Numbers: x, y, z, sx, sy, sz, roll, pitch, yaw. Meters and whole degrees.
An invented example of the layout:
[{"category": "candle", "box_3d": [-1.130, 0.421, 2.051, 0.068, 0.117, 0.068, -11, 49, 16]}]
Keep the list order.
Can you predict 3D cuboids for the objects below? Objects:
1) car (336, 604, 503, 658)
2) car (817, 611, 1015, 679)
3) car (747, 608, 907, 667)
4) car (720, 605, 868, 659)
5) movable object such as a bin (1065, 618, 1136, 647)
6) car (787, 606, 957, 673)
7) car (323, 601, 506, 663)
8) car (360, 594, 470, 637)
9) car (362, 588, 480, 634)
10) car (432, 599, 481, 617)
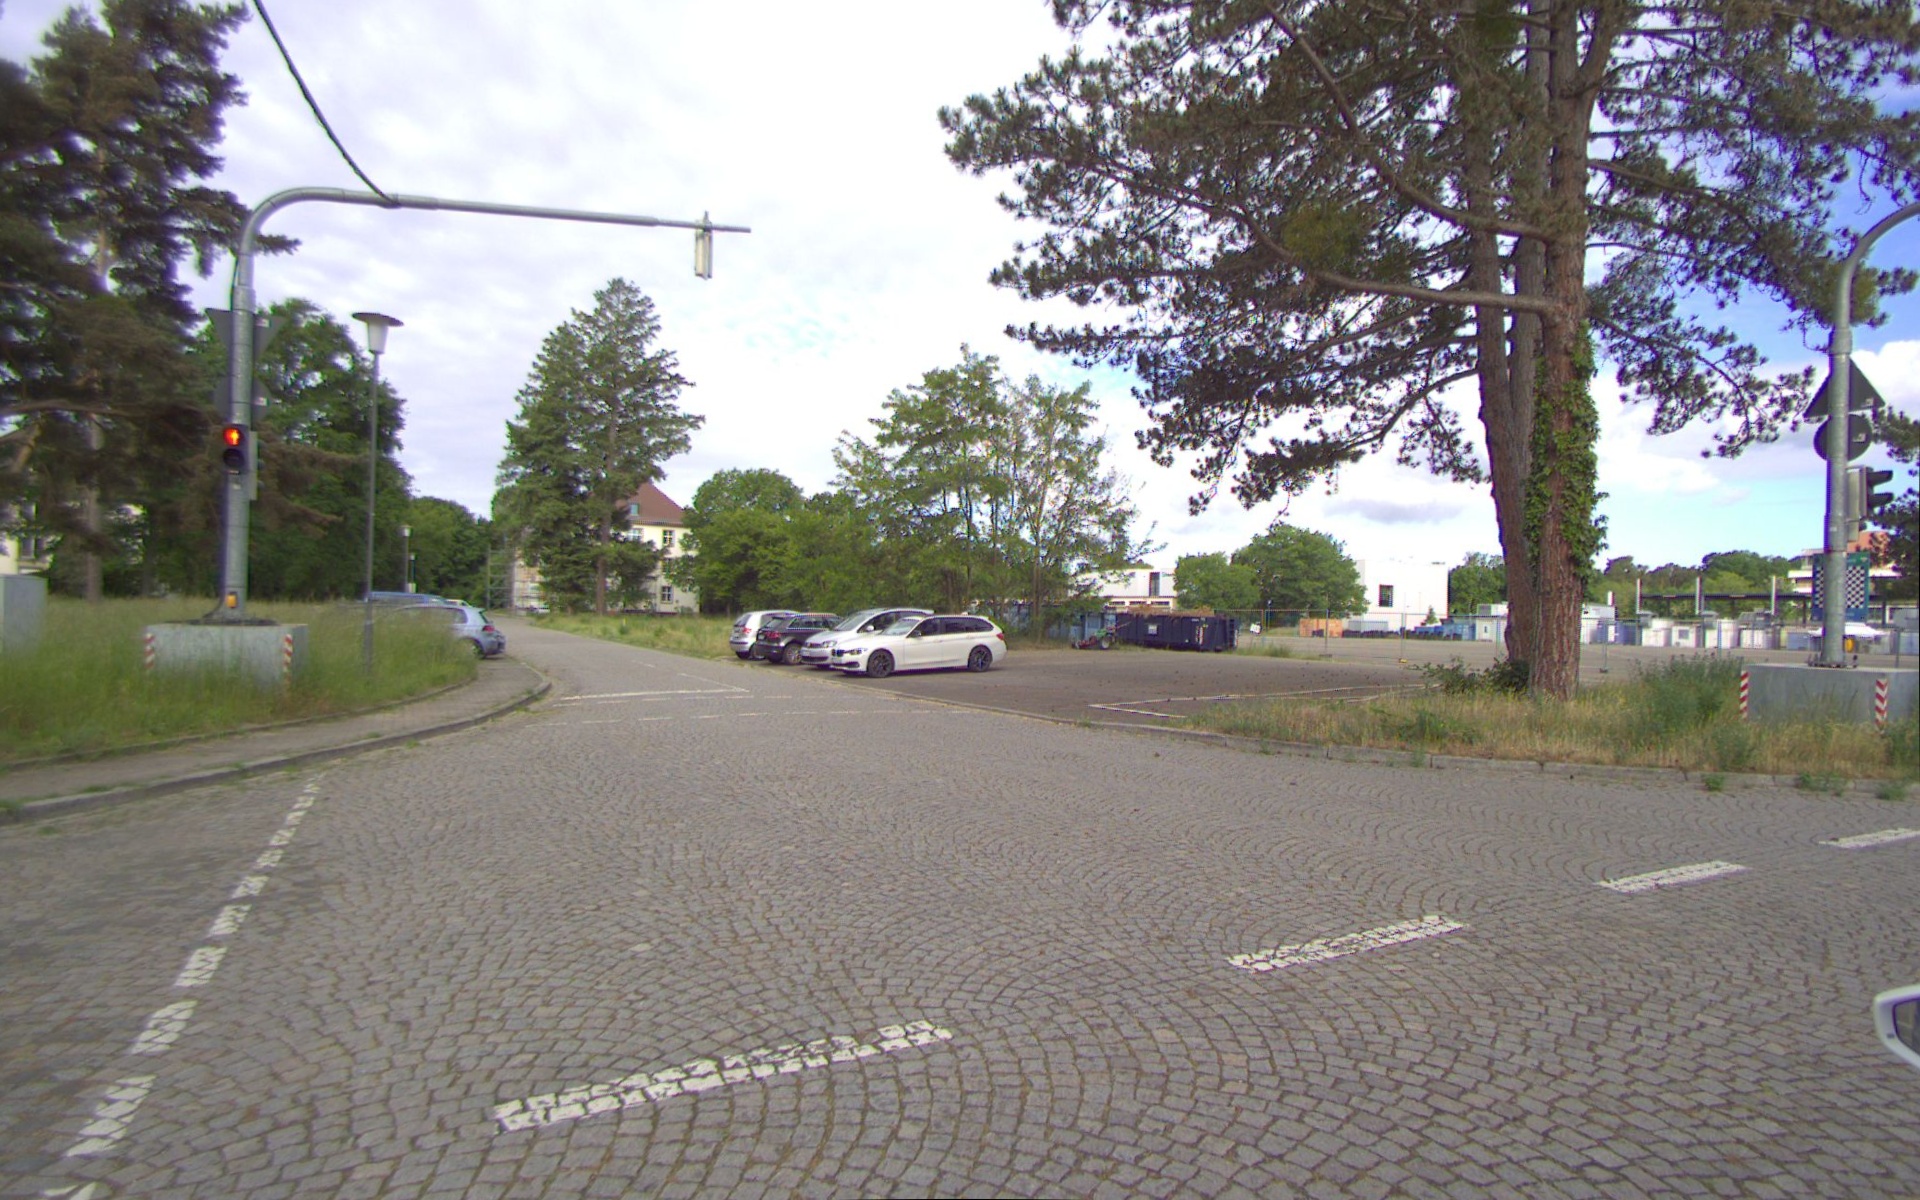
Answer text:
[{"category": "car", "box_3d": [-14.966, 0.871, 27.984, 3.950, 1.372, 1.678, 2, -1, -28]}, {"category": "car", "box_3d": [-1.052, 1.051, 25.010, 4.687, 1.461, 1.800, 0, 1, -32]}, {"category": "car", "box_3d": [-3.862, 1.031, 29.440, 4.279, 1.522, 1.844, -1, 1, -33]}, {"category": "car", "box_3d": [-5.216, 1.028, 31.743, 4.279, 1.587, 1.783, 2, -1, -33]}, {"category": "movable object such as a bin", "box_3d": [5.446, 1.275, 38.985, 2.631, 1.062, 1.170, 2, -1, -34]}, {"category": "car", "box_3d": [-2.349, 1.002, 27.233, 4.279, 1.605, 1.811, -1, 1, -33]}, {"category": "car", "box_3d": [-13.871, 0.823, 25.685, 3.953, 1.492, 1.677, 2, -1, -30]}, {"category": "car", "box_3d": [-22.611, 0.653, 41.845, 3.949, 1.737, 1.679, 1, 0, -27]}, {"category": "car", "box_3d": [-24.909, 0.530, 46.541, 4.735, 2.007, 1.983, 1, 0, -29]}, {"category": "car", "box_3d": [-60.089, 0.938, 119.956, 5.102, 2.040, 1.984, 2, -1, -30]}]
